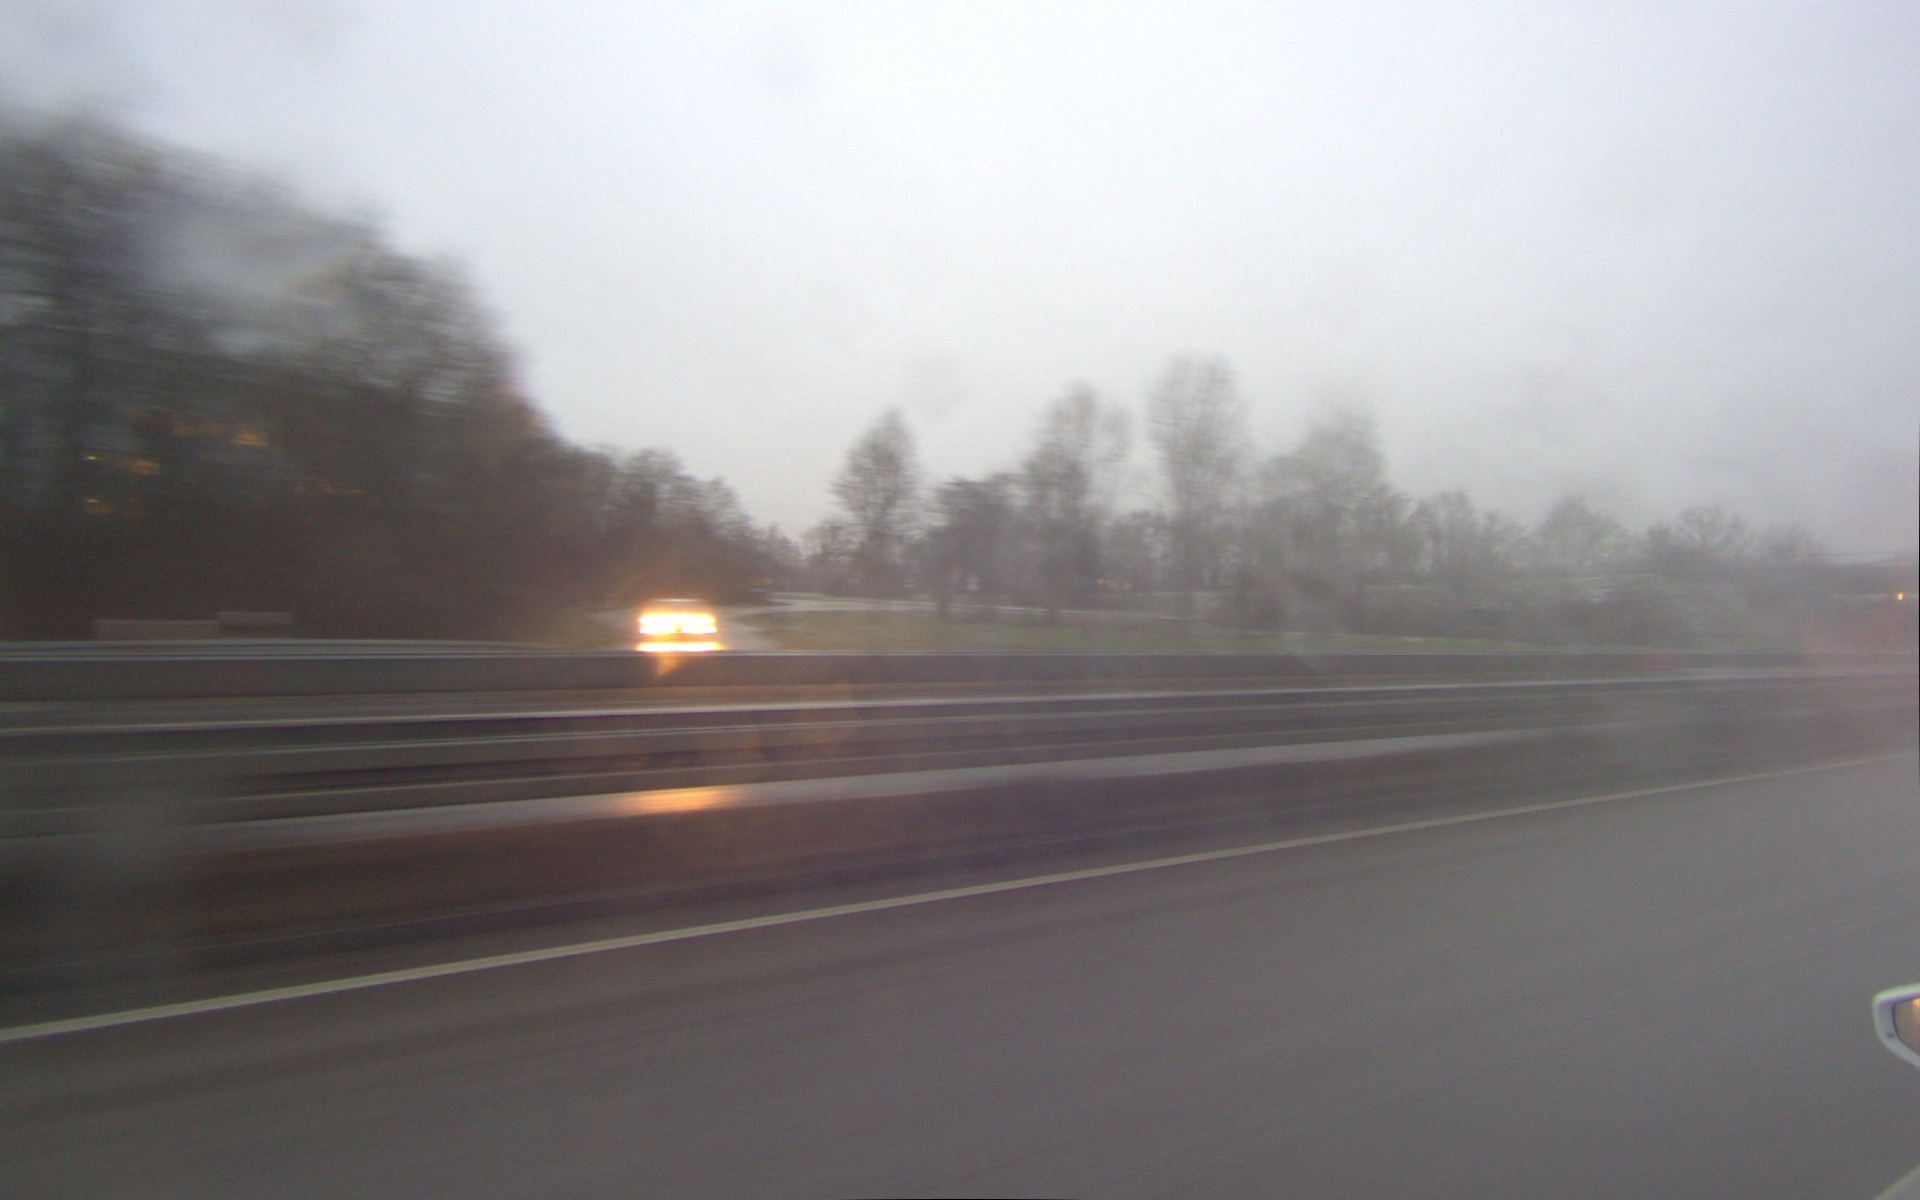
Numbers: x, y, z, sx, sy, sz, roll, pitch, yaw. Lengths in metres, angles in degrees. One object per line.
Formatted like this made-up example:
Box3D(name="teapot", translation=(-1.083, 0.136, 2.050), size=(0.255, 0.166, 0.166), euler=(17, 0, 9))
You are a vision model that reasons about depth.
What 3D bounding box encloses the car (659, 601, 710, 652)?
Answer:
Box3D(name="car", translation=(-10.880, 1.006, 39.752), size=(1.822, 1.708, 3.987), euler=(2, 2, -15))
